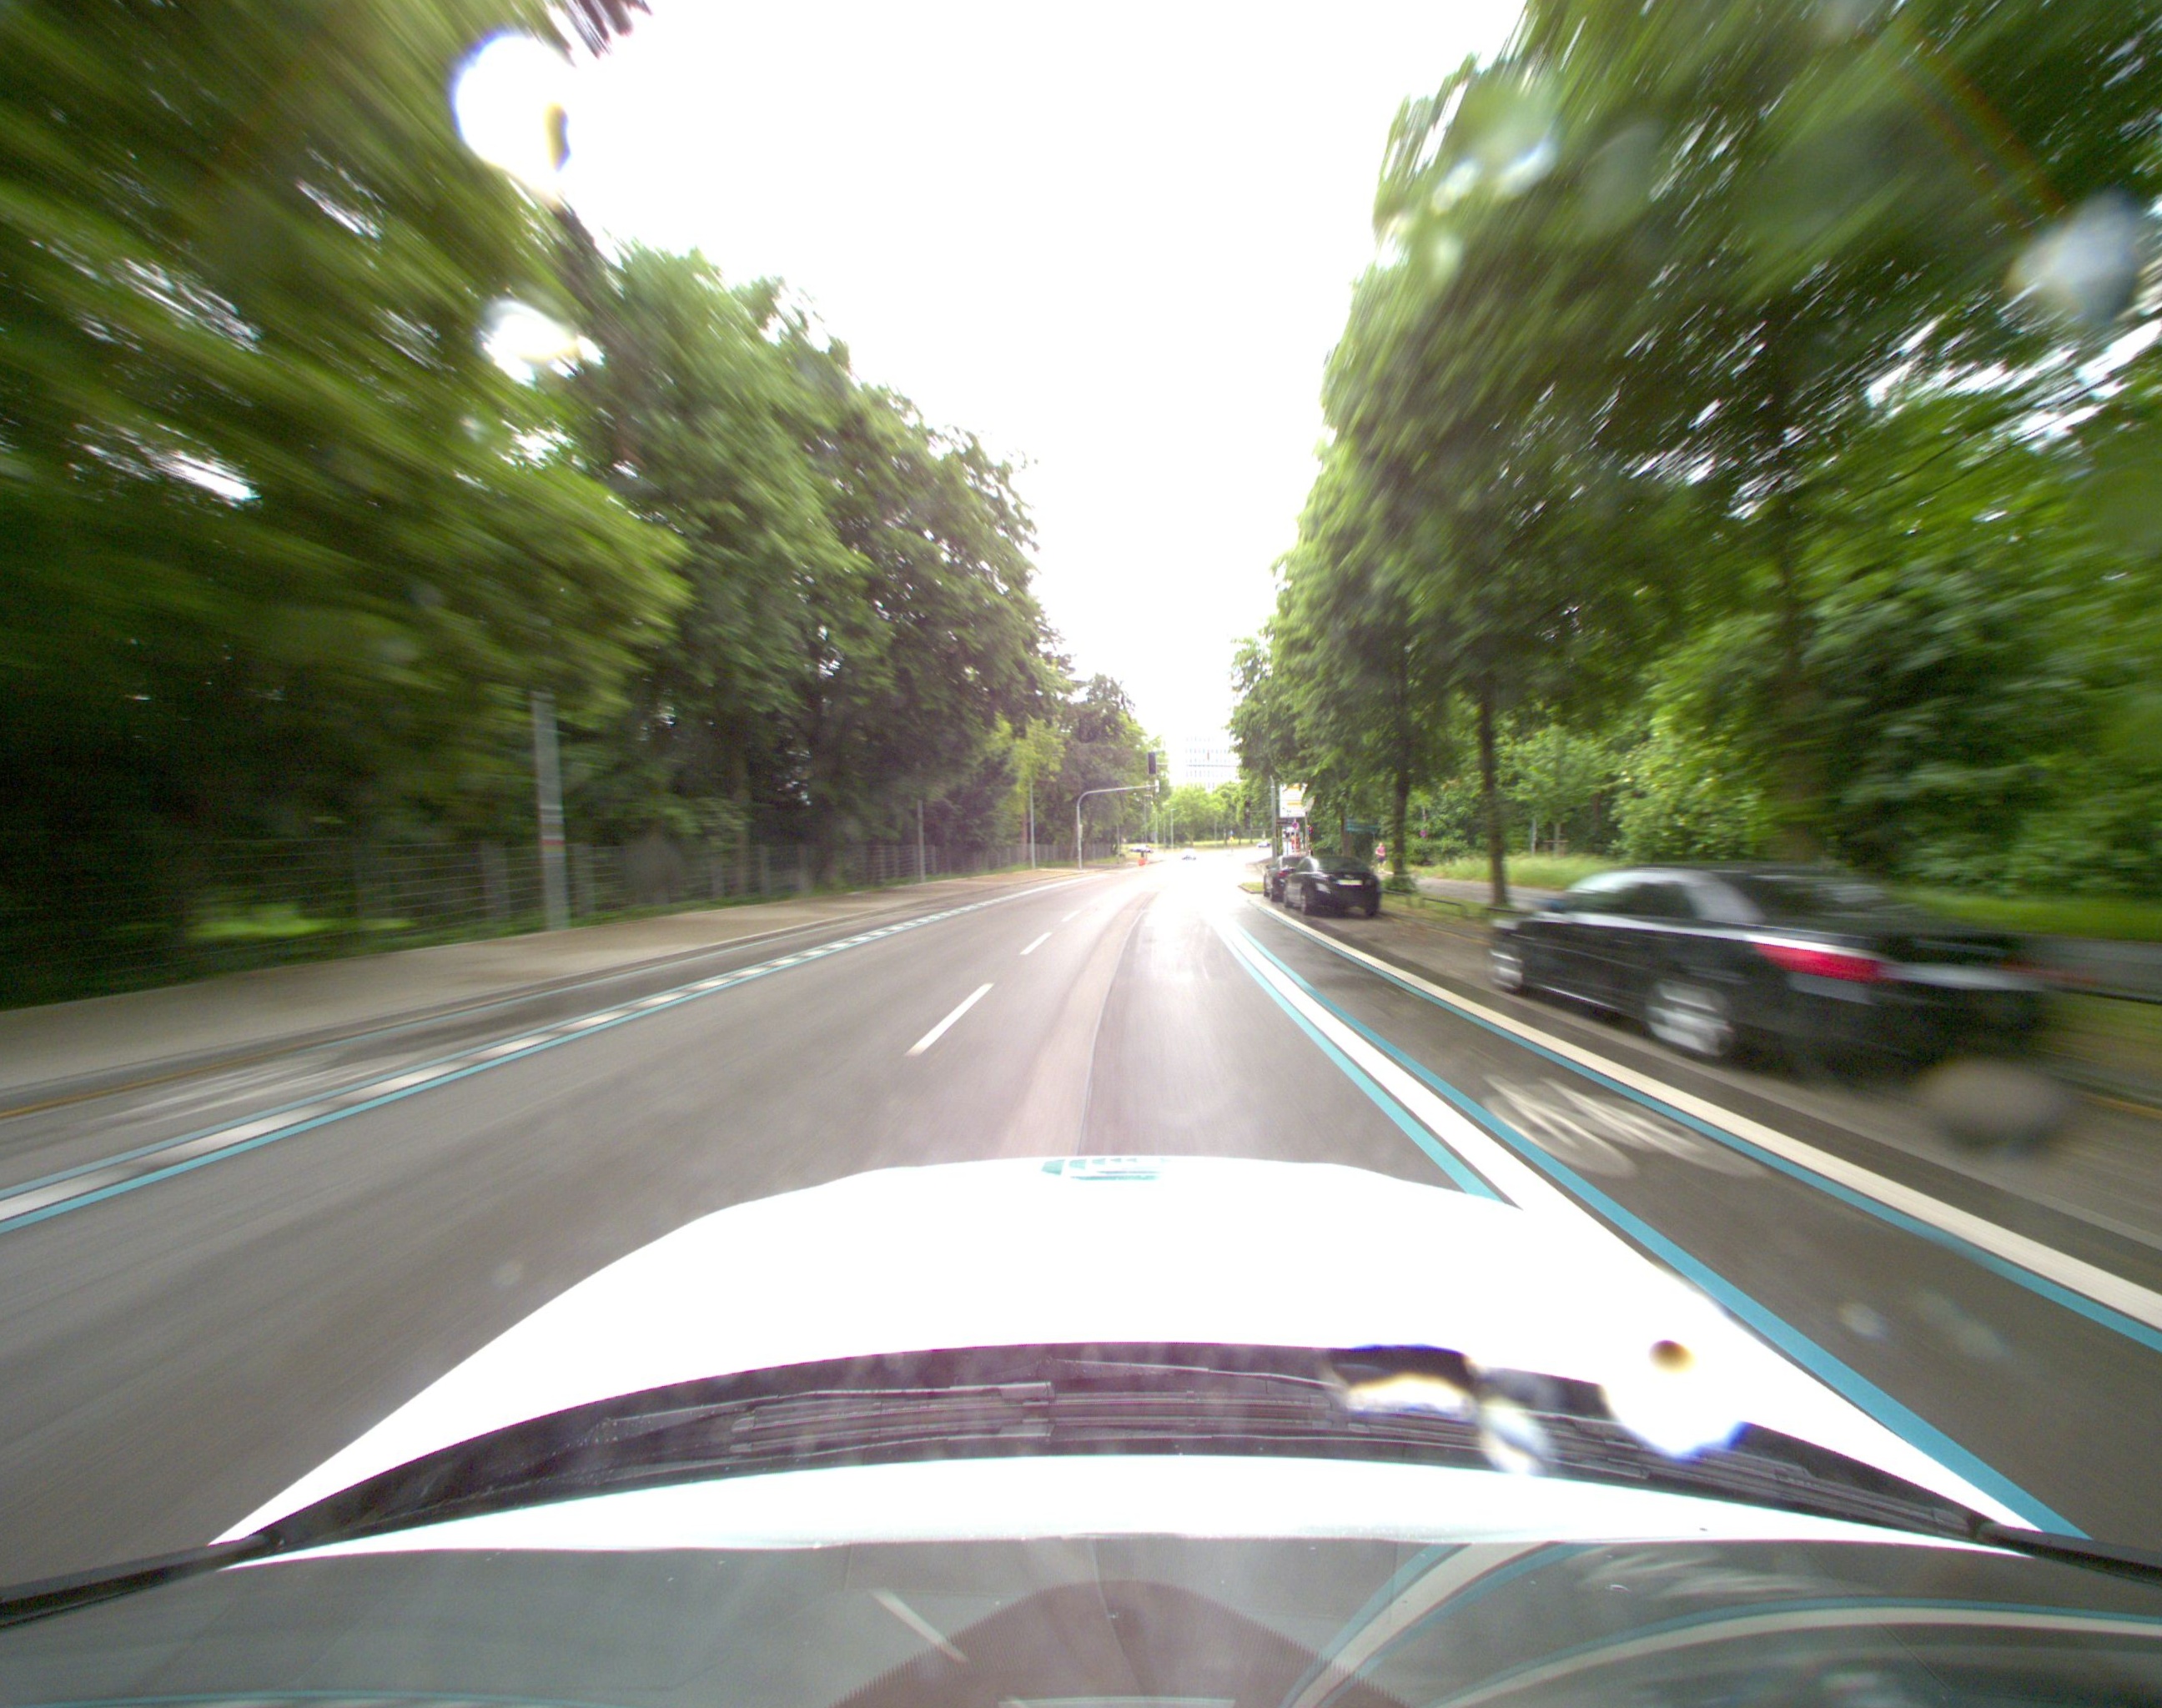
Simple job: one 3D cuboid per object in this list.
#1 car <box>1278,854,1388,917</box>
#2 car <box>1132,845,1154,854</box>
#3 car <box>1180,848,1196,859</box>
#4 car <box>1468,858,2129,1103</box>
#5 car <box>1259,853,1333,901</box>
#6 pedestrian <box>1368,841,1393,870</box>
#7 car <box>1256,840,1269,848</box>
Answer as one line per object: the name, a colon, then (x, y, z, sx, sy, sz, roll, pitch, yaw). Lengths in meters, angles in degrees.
car: (6.351, 0.719, 21.083, 1.691, 1.420, 4.769, 1, 0, 4)
car: (12.220, -0.883, 159.446, 3.958, 1.441, 1.614, 5, 3, 16)
car: (15.318, -0.082, 116.570, 1.831, 1.457, 4.515, -1, 1, 12)
car: (5.343, 0.748, 7.196, 1.774, 1.407, 4.849, 0, 0, 3)
car: (7.003, 0.689, 26.983, 1.748, 1.439, 4.867, 0, 0, 7)
pedestrian: (18.077, 0.064, 49.131, 0.890, 1.733, 1.138, 0, 0, -22)
car: (41.148, -2.320, 184.438, 1.975, 1.685, 4.024, -1, 0, 27)
